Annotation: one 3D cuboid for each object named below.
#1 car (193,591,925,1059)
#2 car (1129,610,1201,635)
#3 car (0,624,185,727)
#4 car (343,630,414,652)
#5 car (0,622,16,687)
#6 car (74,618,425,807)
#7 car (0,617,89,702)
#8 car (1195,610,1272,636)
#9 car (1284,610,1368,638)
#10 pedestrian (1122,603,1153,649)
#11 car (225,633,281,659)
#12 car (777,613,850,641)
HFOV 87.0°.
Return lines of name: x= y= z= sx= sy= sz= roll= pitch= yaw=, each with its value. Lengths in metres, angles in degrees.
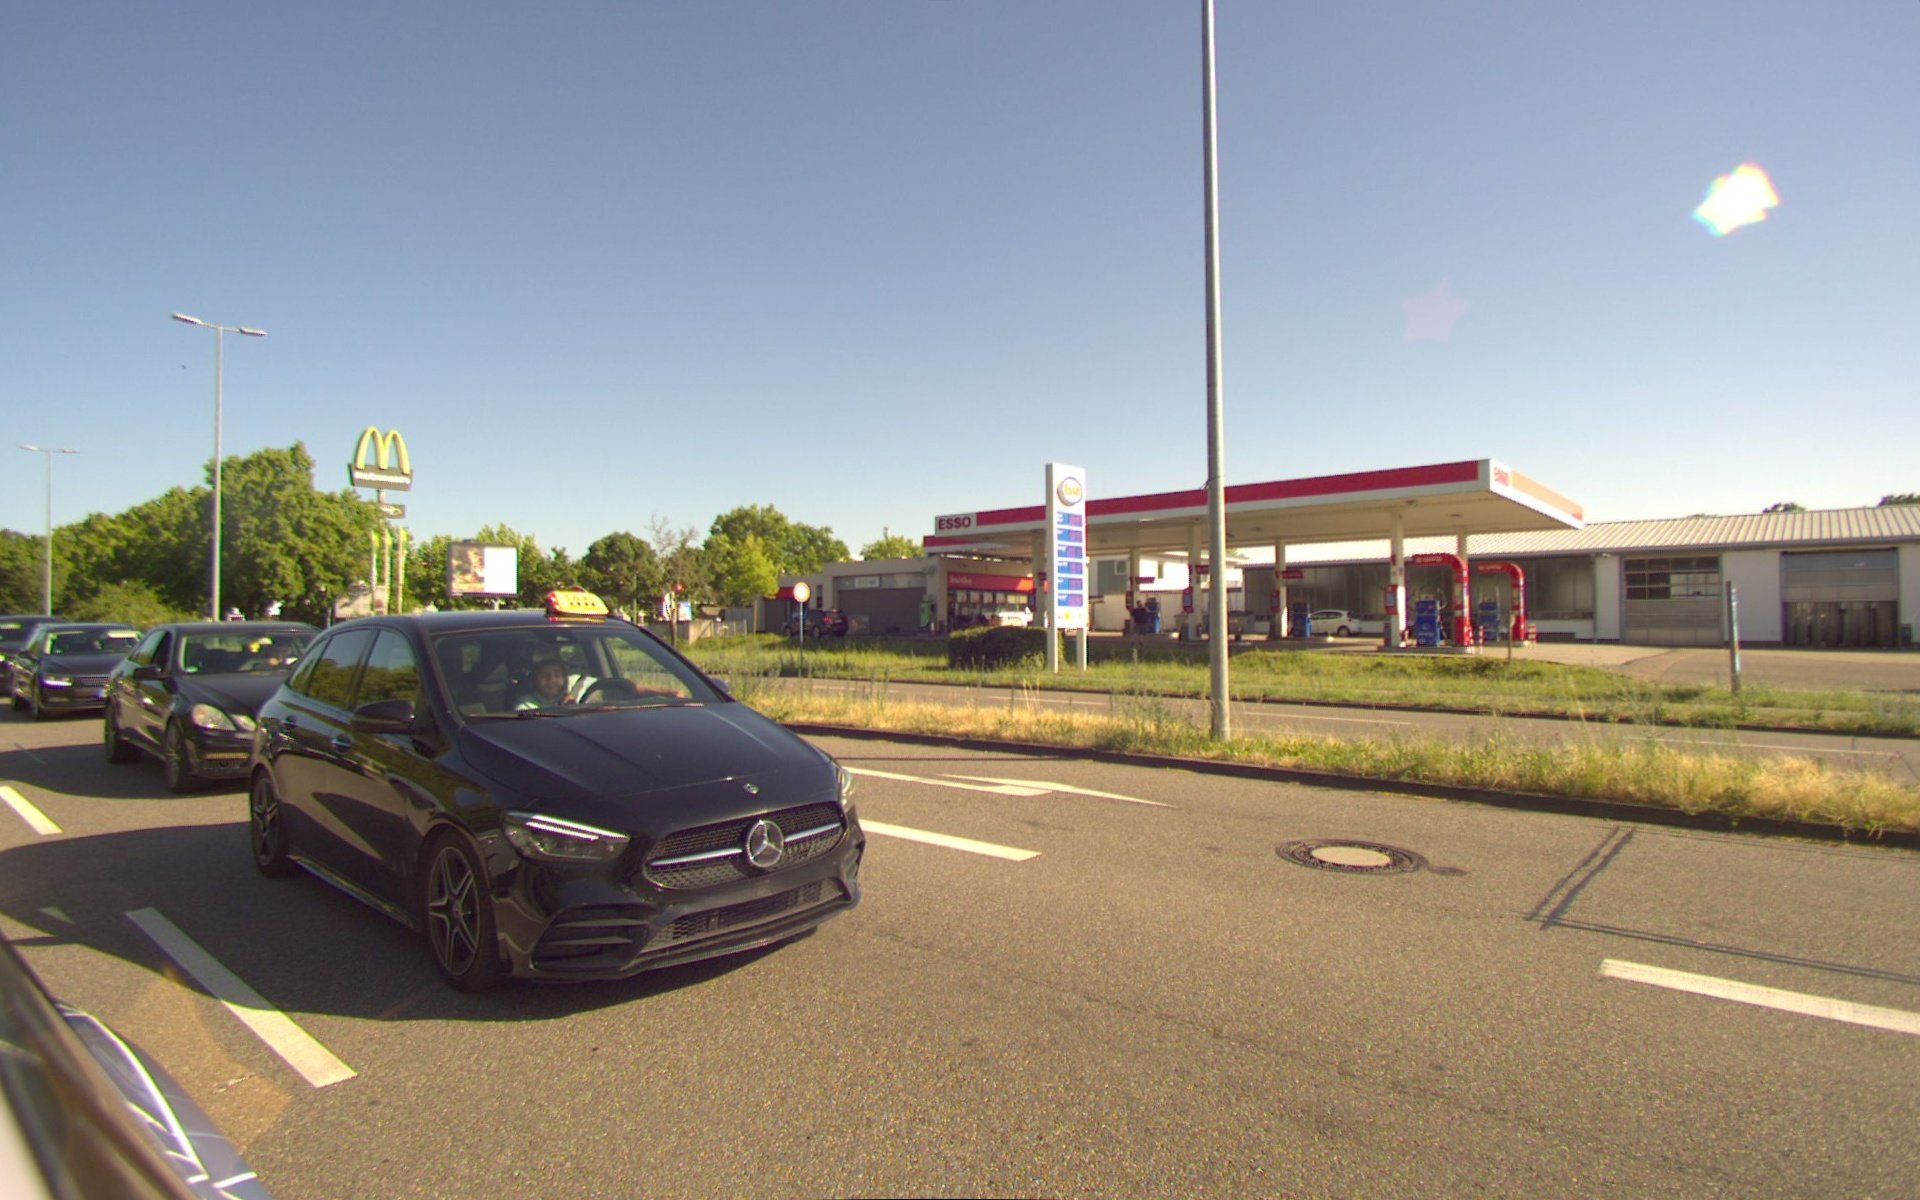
car: x=-2.396 y=0.740 z=5.358 sx=4.400 sy=1.502 sz=1.741 roll=-1 pitch=0 yaw=40
car: x=12.427 y=1.394 z=61.404 sx=3.975 sy=1.420 sz=1.661 roll=-1 pitch=-4 yaw=40
car: x=-14.464 y=1.157 z=16.718 sx=4.284 sy=1.438 sz=1.775 roll=-1 pitch=0 yaw=40
car: x=-39.056 y=2.784 z=68.028 sx=1.750 sy=1.420 sz=3.955 roll=1 pitch=-3 yaw=18
car: x=-25.235 y=1.372 z=25.566 sx=3.774 sy=1.567 sz=1.615 roll=-1 pitch=-1 yaw=40
car: x=-7.274 y=0.933 z=10.186 sx=4.400 sy=1.449 sz=1.845 roll=-1 pitch=0 yaw=40
car: x=-19.951 y=1.206 z=21.468 sx=3.876 sy=1.629 sz=1.653 roll=-2 pitch=-1 yaw=40
car: x=15.825 y=1.350 z=58.605 sx=3.975 sy=1.420 sz=1.661 roll=-1 pitch=-4 yaw=40
car: x=19.827 y=1.299 z=54.862 sx=3.975 sy=1.420 sz=1.661 roll=-1 pitch=-4 yaw=40
pedestrian: x=6.961 y=1.000 z=39.644 sx=0.904 sy=1.763 sz=0.780 roll=-1 pitch=0 yaw=43
car: x=-42.443 y=2.755 z=60.690 sx=3.975 sy=1.420 sz=1.741 roll=-1 pitch=-4 yaw=40
car: x=-7.971 y=1.456 z=54.826 sx=3.975 sy=1.420 sz=1.661 roll=-1 pitch=-4 yaw=40
